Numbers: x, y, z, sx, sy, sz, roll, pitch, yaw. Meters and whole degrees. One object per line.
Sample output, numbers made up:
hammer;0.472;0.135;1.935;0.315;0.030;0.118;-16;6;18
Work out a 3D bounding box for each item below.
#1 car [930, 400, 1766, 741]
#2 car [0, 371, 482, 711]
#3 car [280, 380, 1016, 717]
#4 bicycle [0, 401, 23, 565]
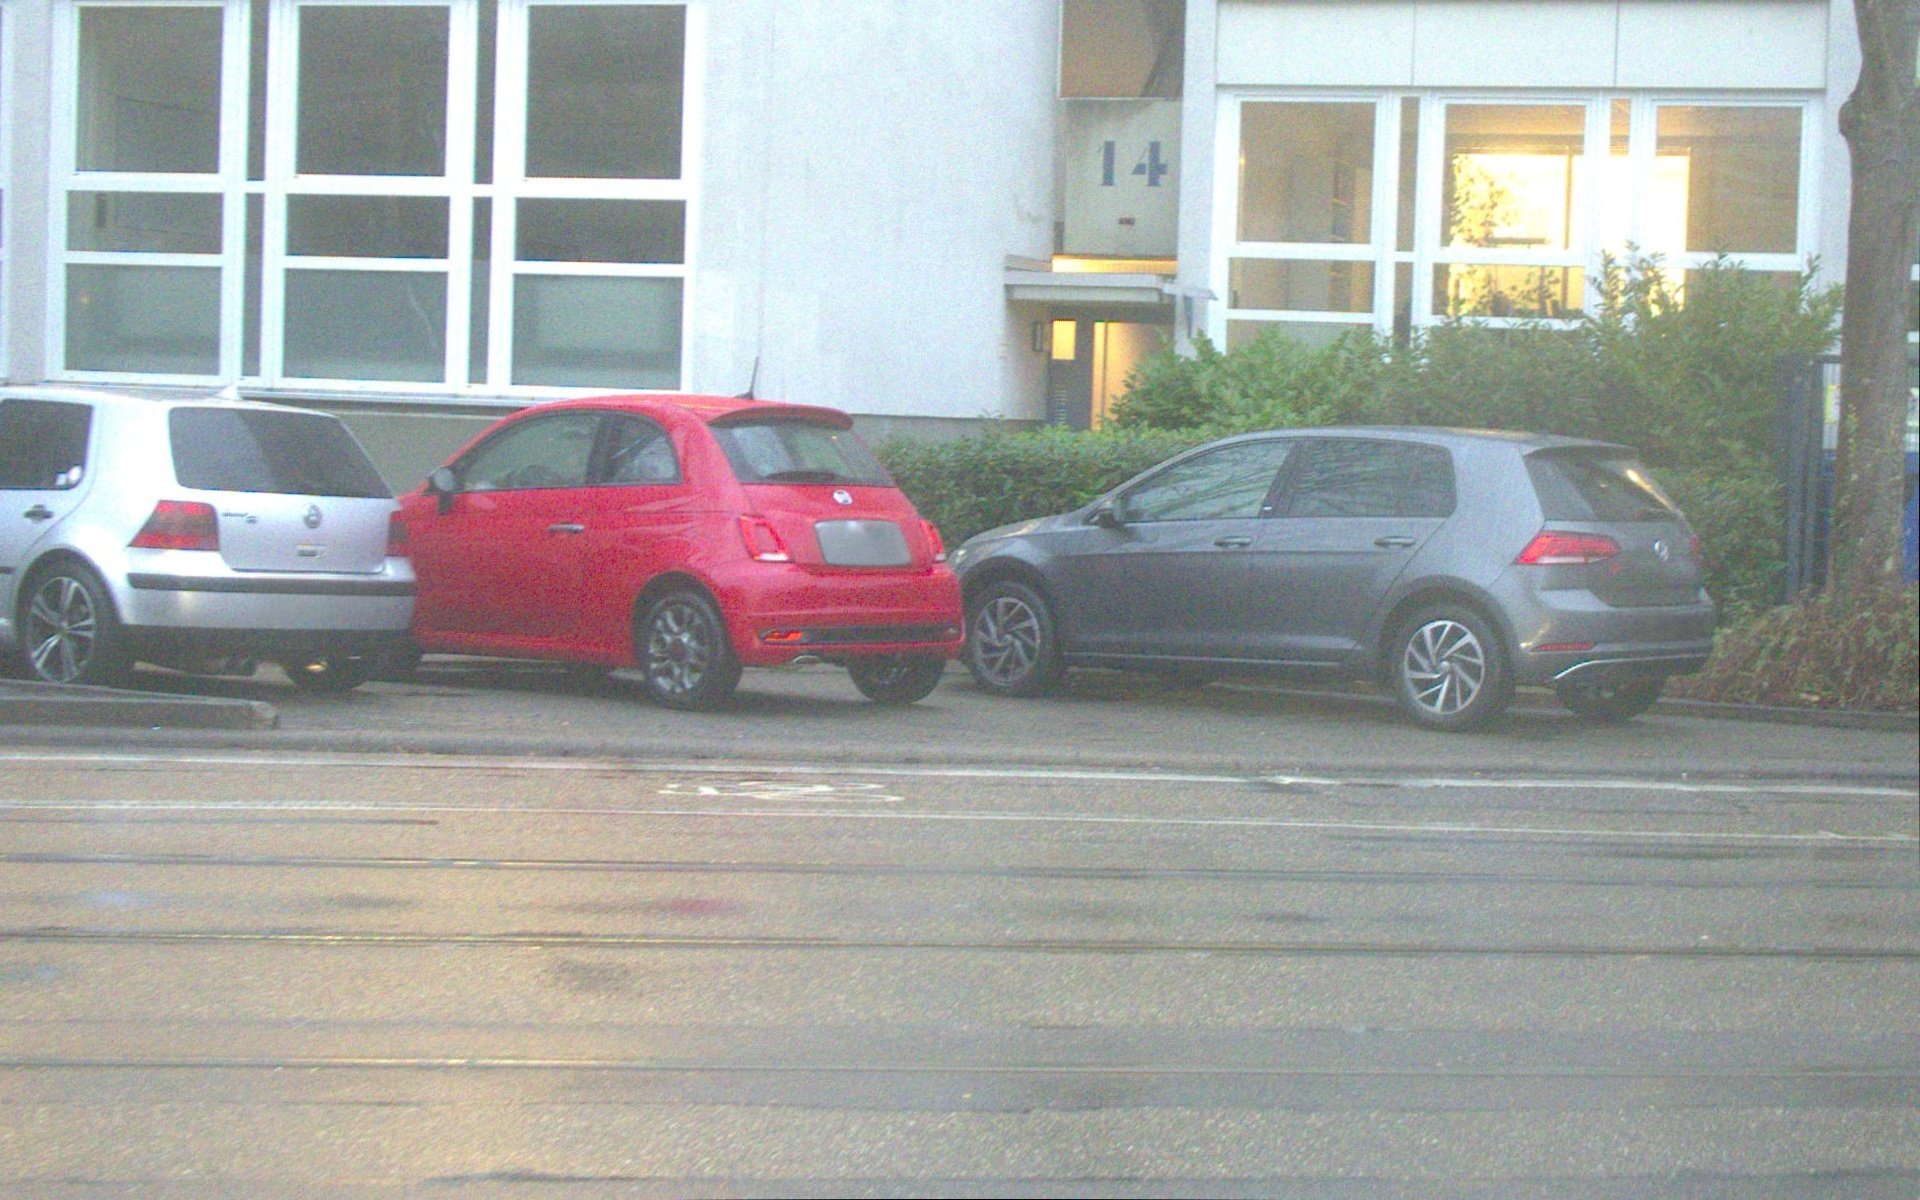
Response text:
car;1.896;-0.223;17.378;3.850;1.487;1.692;4;4;38
car;-4.399;-0.369;16.587;3.995;1.441;1.789;3;4;36
car;-1.619;-0.324;17.283;3.448;1.487;1.725;4;4;40
bicycle;-7.040;-0.771;22.710;0.640;1.116;2.204;2;3;14
